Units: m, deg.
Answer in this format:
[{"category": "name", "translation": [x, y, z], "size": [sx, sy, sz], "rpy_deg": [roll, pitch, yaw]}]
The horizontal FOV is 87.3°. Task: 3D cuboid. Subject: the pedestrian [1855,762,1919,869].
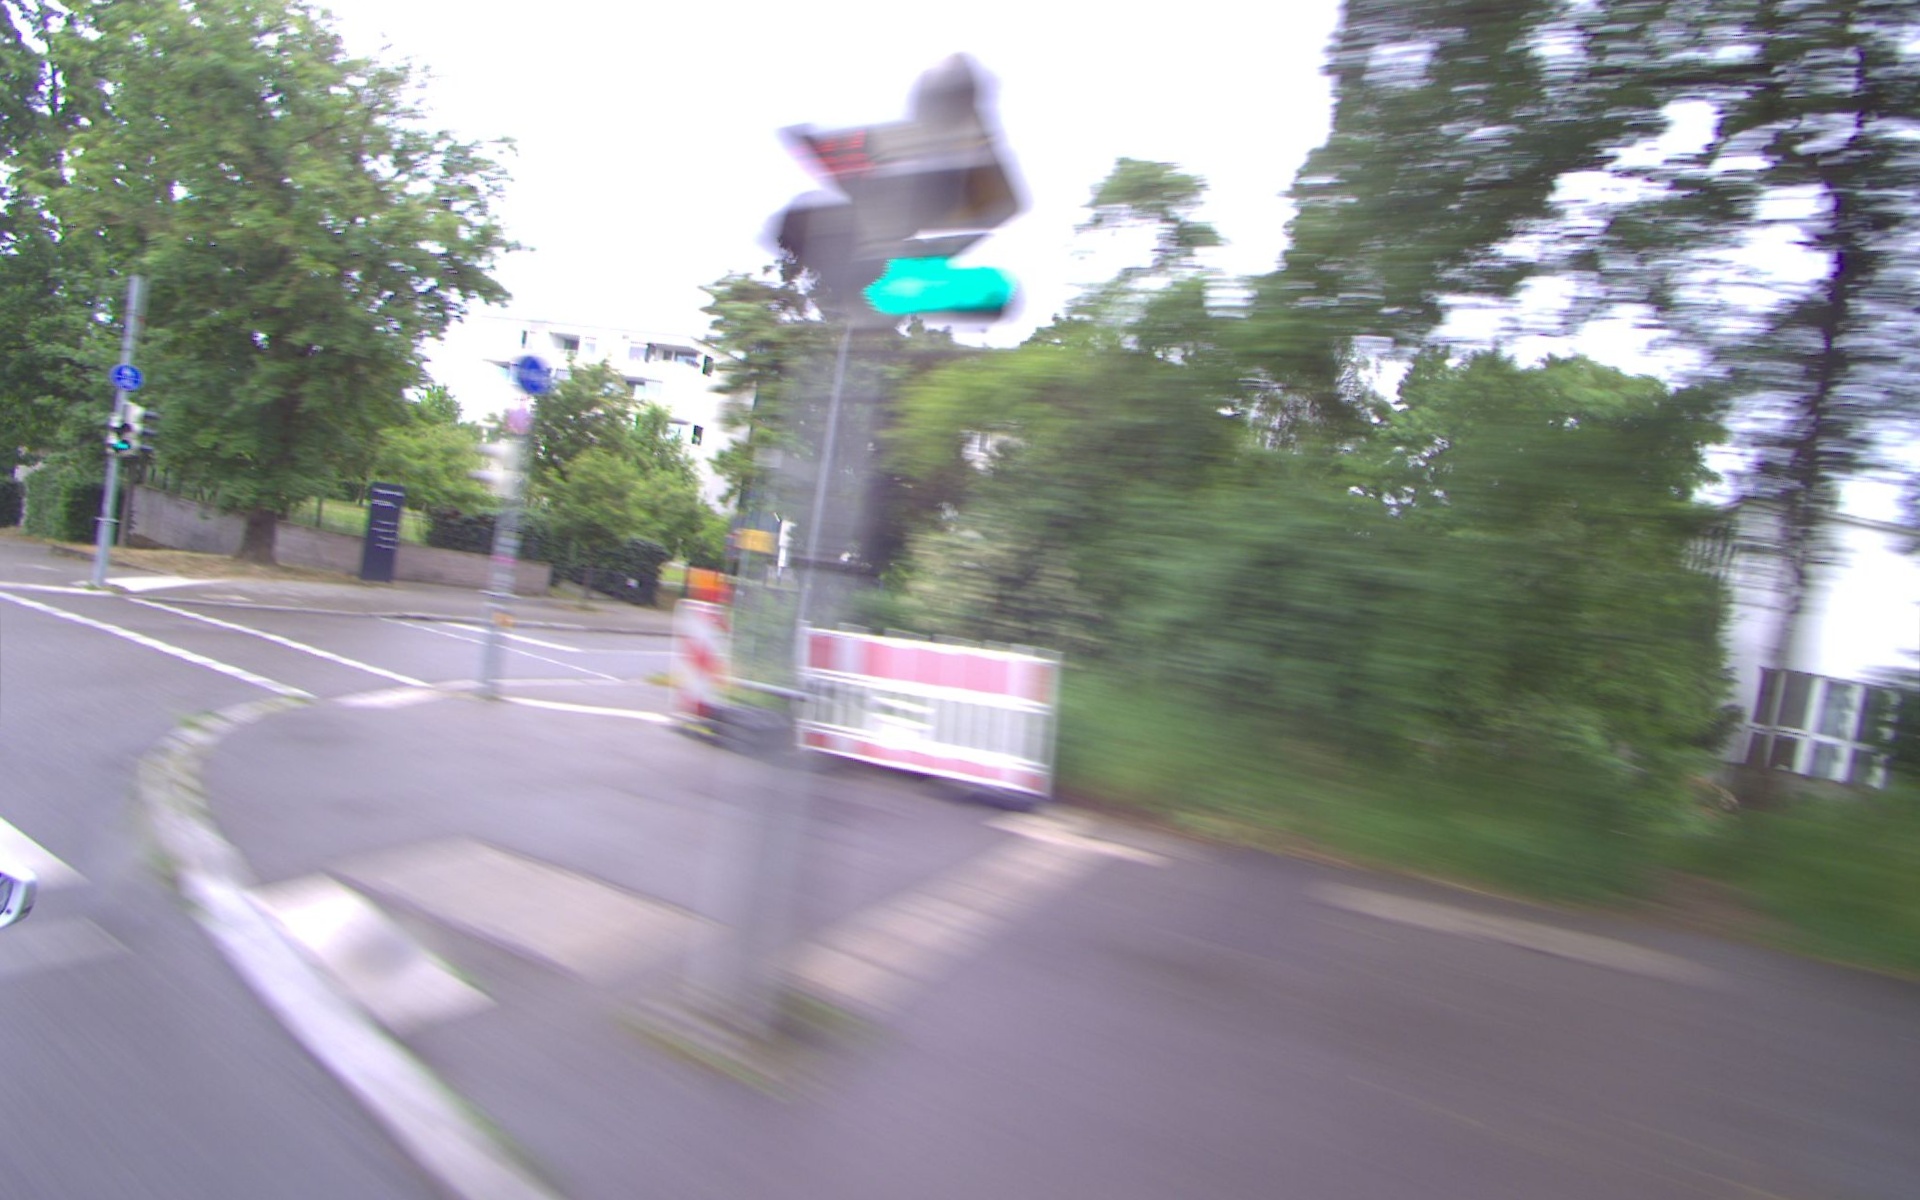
[{"category": "pedestrian", "translation": [9.691, 2.230, 10.468], "size": [0.398, 0.994, 0.373], "rpy_deg": [7, 1, 29]}]
